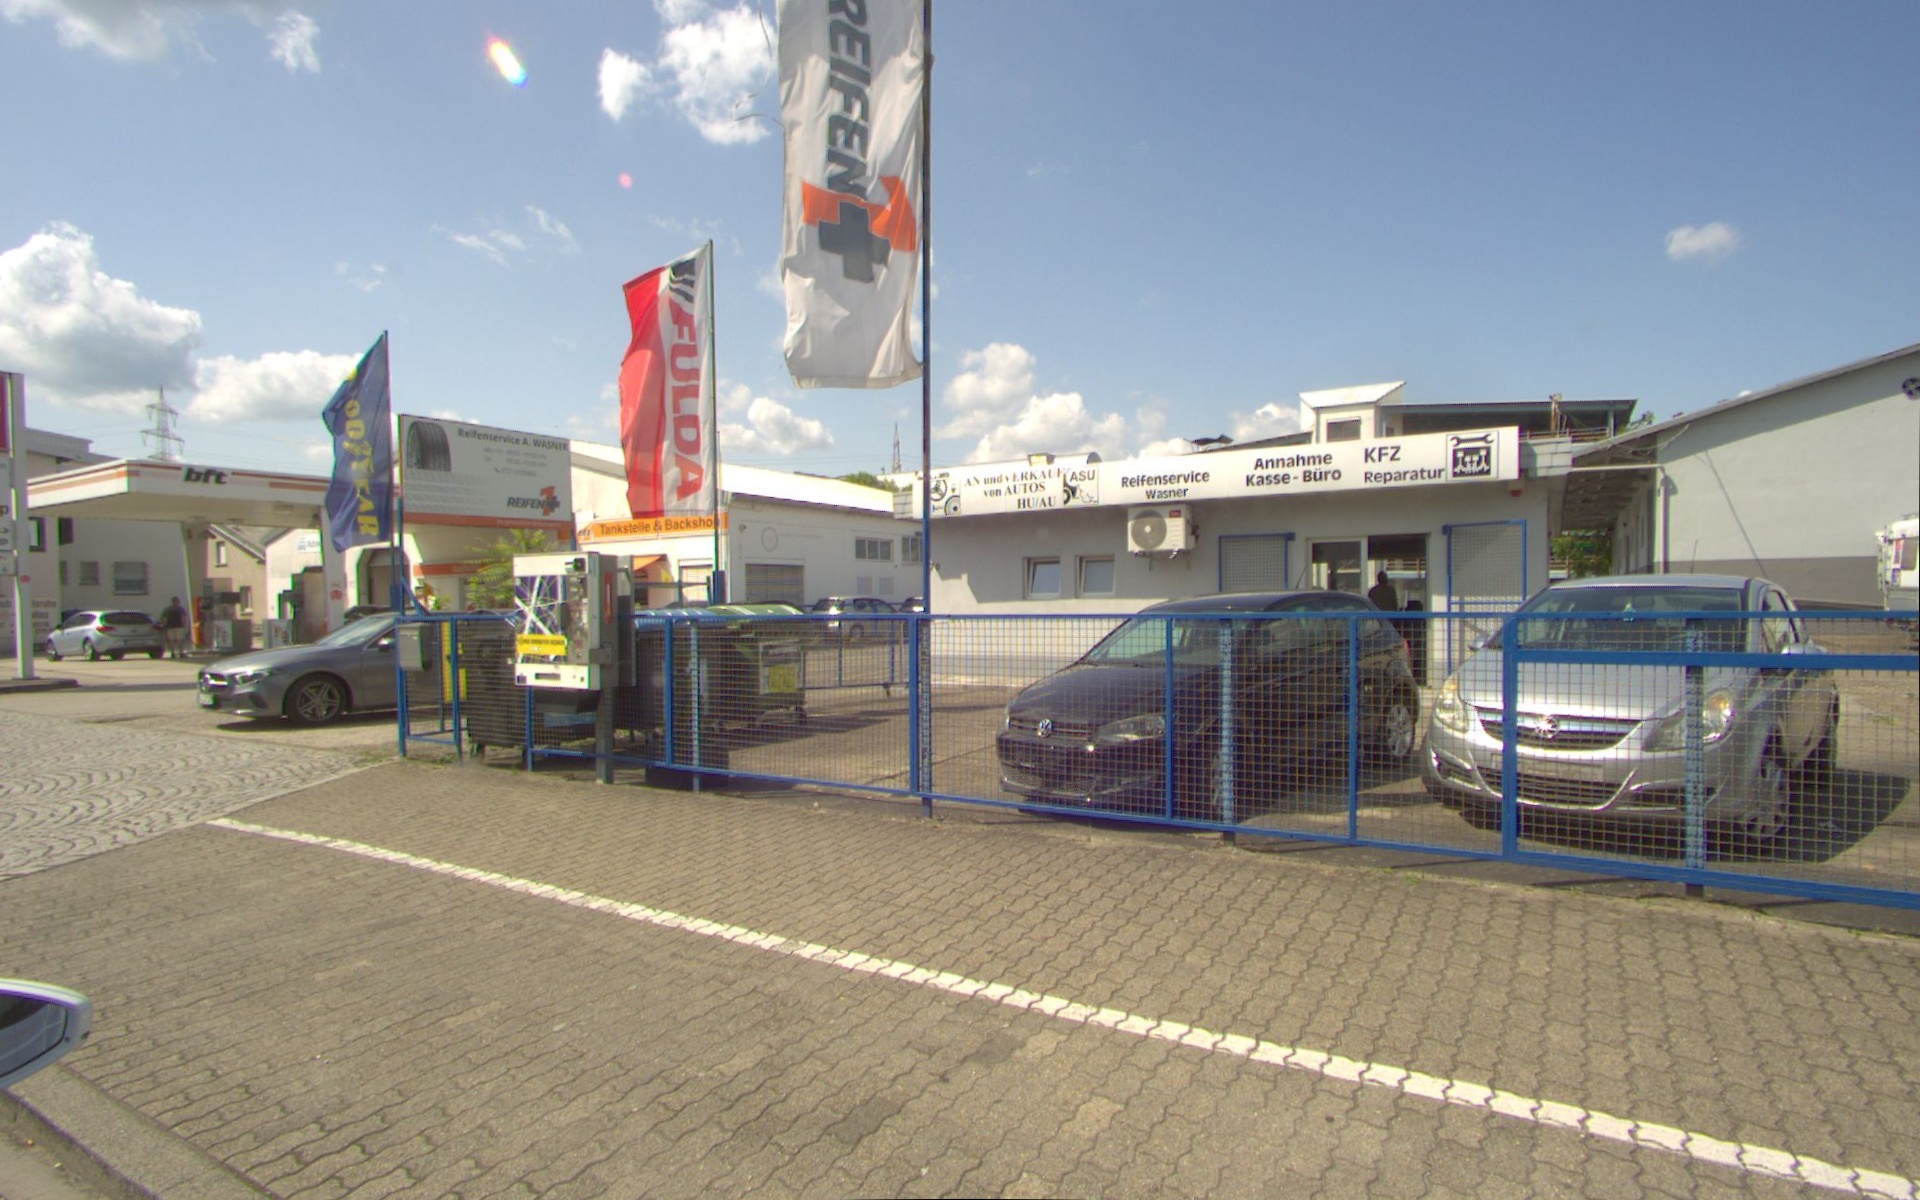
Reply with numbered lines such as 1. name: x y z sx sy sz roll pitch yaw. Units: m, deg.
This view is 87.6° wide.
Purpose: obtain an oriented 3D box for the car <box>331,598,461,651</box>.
1. car: -17.319 0.731 30.724 3.777 1.523 1.803 0 0 31

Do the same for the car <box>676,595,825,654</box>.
1. car: -5.727 0.628 27.821 1.564 1.482 4.187 0 0 33

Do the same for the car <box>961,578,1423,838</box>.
1. car: 1.888 0.599 7.493 3.655 1.472 1.625 -1 1 -43

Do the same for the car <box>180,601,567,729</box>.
1. car: -7.769 0.754 13.672 1.652 1.434 4.259 0 0 36

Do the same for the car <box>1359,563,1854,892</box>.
1. car: 4.268 0.559 6.385 3.729 1.472 1.757 -1 0 -42

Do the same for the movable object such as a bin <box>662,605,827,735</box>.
1. movable object such as a bin: -2.539 0.777 11.906 1.318 1.415 1.400 0 1 31

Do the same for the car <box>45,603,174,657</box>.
1. car: -25.746 0.883 30.304 3.776 1.523 1.803 0 0 30

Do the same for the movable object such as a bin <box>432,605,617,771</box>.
1. movable object such as a bin: -4.165 0.781 9.610 1.225 1.455 1.106 0 1 31

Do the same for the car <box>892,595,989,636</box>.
1. car: -0.650 0.516 35.739 1.564 1.385 3.860 0 0 33

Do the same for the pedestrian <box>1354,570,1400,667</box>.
1. pedestrian: 7.345 0.312 17.651 0.654 1.671 0.563 0 1 34

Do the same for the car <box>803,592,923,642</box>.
1. car: -3.024 0.511 32.053 1.564 1.482 4.187 0 0 33

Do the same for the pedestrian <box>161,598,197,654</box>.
1. pedestrian: -23.785 0.783 30.515 0.698 1.679 0.546 -1 1 -22

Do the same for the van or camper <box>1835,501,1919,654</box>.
1. van or camper: 21.008 -0.460 19.536 5.571 3.005 2.264 0 1 31

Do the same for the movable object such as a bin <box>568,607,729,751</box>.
1. movable object such as a bin: -3.332 0.797 10.741 1.225 1.415 1.106 0 1 31

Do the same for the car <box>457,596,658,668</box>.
1. car: -9.173 0.676 23.165 1.564 1.482 4.187 0 0 33

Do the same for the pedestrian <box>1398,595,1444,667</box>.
1. pedestrian: 8.040 0.526 17.444 0.654 1.225 0.563 0 1 34
